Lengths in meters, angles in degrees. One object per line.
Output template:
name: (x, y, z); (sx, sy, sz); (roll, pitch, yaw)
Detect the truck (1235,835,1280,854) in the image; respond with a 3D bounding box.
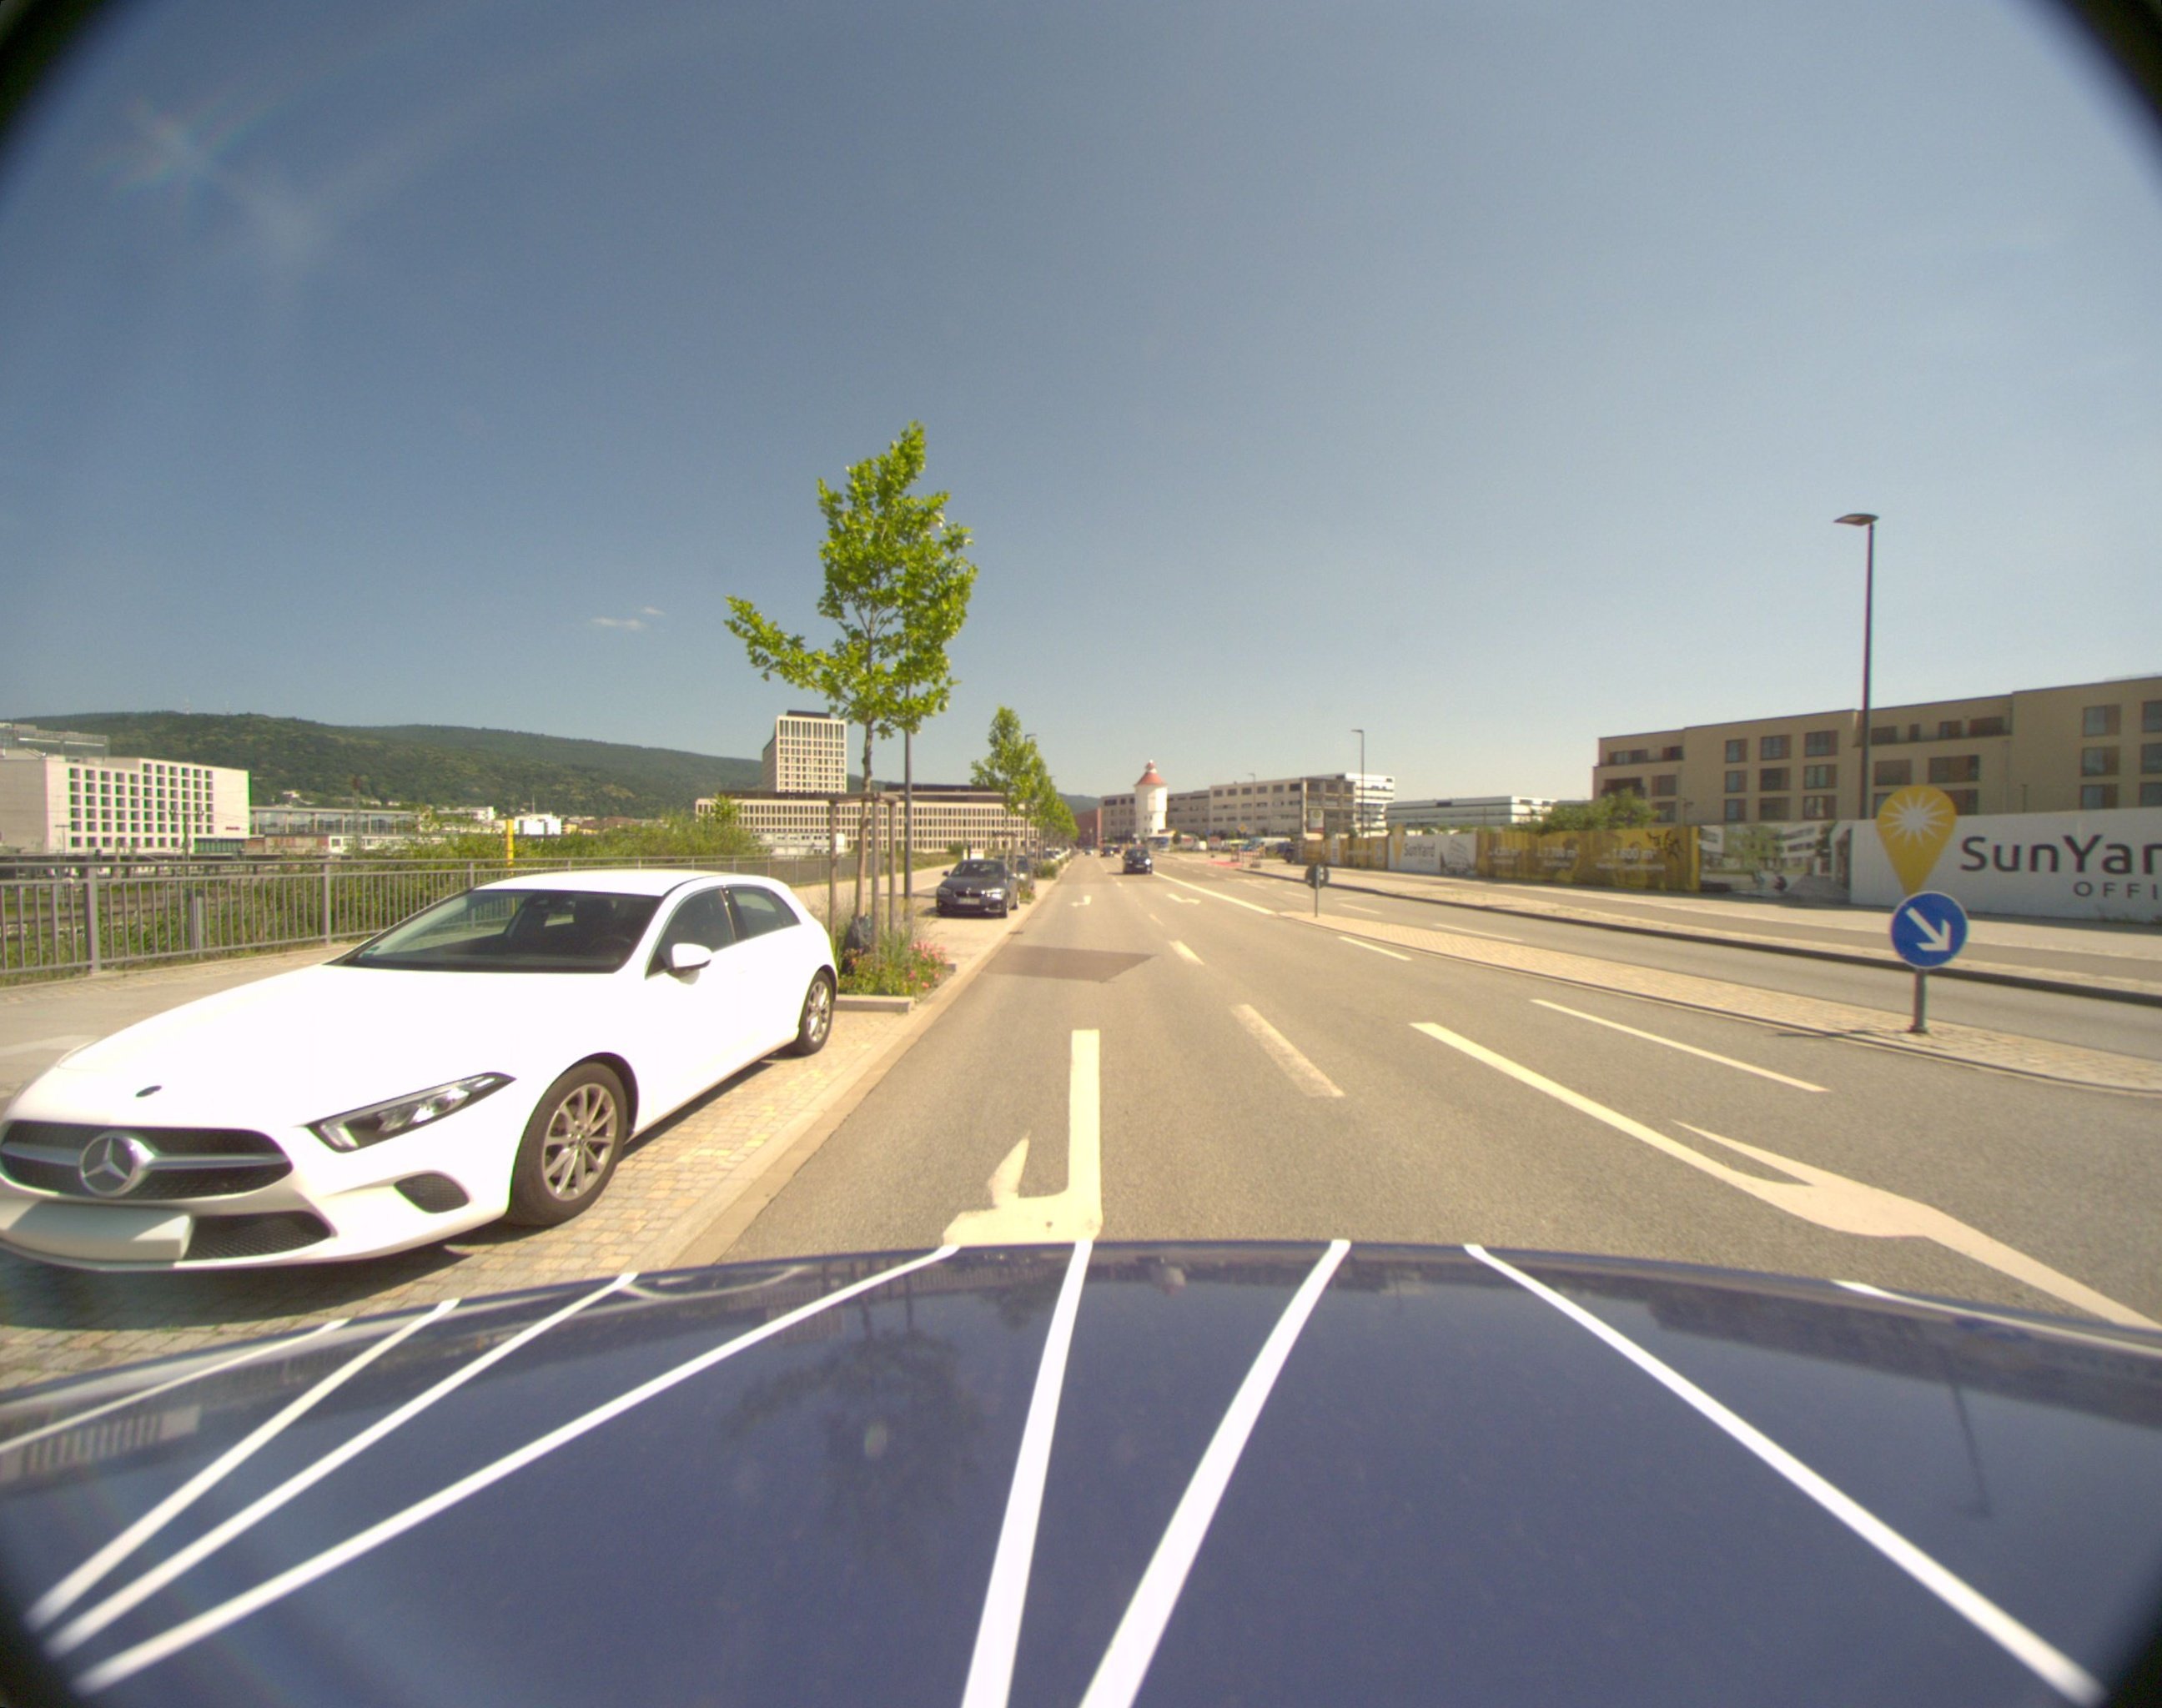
truck: (24.400, -1.342, 104.990); (5.633, 2.461, 1.999); (-2, 1, -3)

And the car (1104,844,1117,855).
car: (3.855, -0.641, 100.288); (1.709, 1.404, 4.000); (-2, 1, 2)

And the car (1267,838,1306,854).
car: (23.825, -0.904, 88.267); (3.930, 1.708, 1.891); (-2, 1, -4)

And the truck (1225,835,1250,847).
truck: (36.448, -2.988, 176.828); (5.412, 2.461, 1.999); (-2, 1, -1)

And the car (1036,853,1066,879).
car: (-1.654, 0.637, 42.637); (1.490, 1.302, 3.155); (-1, 1, 1)

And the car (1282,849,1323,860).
car: (20.329, 0.034, 69.807); (3.359, 0.947, 1.293); (-2, 1, 3)

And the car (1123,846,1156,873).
car: (3.649, 0.294, 48.178); (1.808, 1.613, 3.916); (-1, 1, 1)

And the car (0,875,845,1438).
car: (-2.909, 0.922, 4.297); (1.710, 1.366, 4.270); (3, 1, 1)

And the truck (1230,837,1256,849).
truck: (36.071, -2.537, 168.947); (5.332, 2.461, 1.999); (-2, 1, -3)

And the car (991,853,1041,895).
car: (-2.471, 0.731, 29.481); (1.569, 1.465, 3.007); (2, 1, 1)

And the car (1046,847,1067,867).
car: (-1.981, 0.208, 62.193); (1.525, 1.482, 3.505); (-2, 1, 1)

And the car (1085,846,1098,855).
car: (1.679, -0.546, 120.665); (1.819, 1.458, 4.346); (-2, 0, 2)

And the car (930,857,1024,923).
car: (-2.602, 0.861, 19.859); (1.808, 1.424, 3.916); (2, 1, 1)

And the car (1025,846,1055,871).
car: (-2.804, 0.283, 52.874); (1.768, 1.609, 3.374); (-3, 1, 1)

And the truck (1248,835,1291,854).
truck: (24.173, -1.207, 97.621); (5.004, 2.215, 2.000); (-2, 1, 0)
